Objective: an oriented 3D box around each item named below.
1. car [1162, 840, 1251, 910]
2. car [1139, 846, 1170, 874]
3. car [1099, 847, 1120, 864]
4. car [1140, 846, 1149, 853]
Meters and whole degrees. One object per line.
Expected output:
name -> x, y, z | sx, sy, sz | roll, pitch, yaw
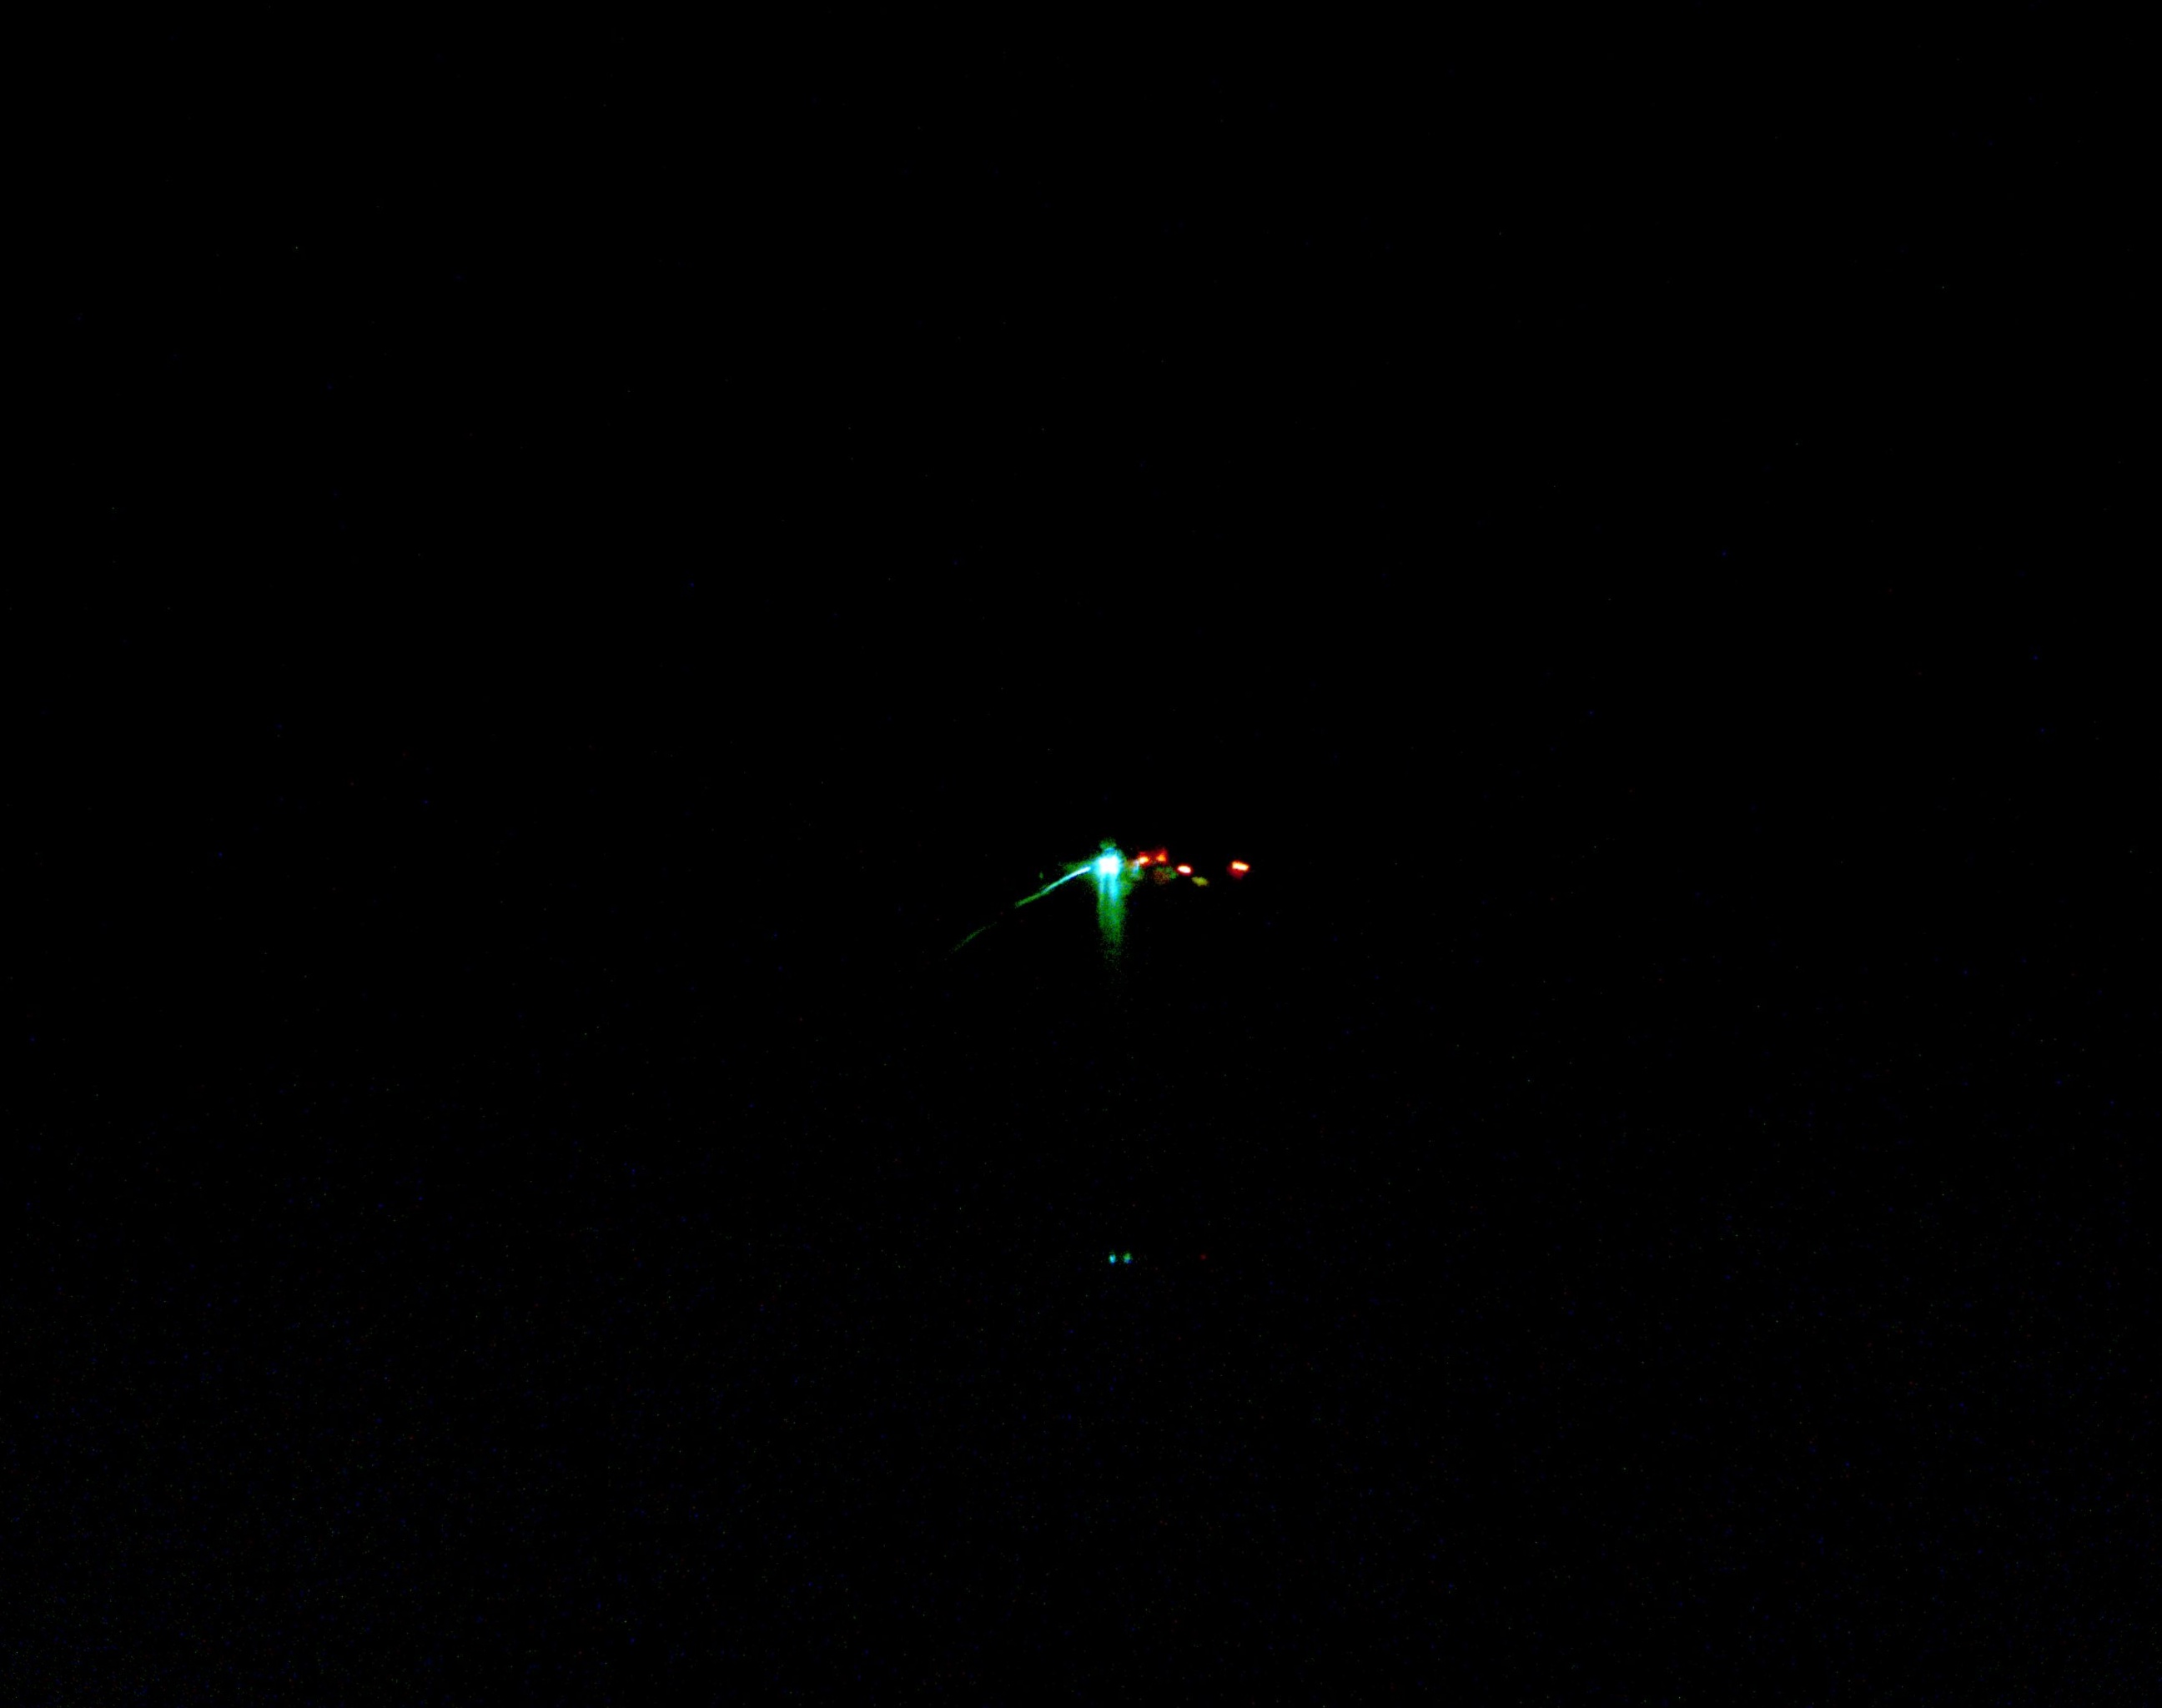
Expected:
car -> 3.621, 0.555, 22.598 | 1.998, 1.812, 4.000 | -3, 1, 1
car -> 4.872, 0.376, 50.730 | 1.775, 1.665, 4.055 | -3, 1, 3
car -> 3.109, 0.162, 81.864 | 1.998, 1.724, 4.001 | -1, 1, 5
car -> 13.725, -0.987, 164.392 | 1.822, 1.546, 3.871 | -1, 1, 3
